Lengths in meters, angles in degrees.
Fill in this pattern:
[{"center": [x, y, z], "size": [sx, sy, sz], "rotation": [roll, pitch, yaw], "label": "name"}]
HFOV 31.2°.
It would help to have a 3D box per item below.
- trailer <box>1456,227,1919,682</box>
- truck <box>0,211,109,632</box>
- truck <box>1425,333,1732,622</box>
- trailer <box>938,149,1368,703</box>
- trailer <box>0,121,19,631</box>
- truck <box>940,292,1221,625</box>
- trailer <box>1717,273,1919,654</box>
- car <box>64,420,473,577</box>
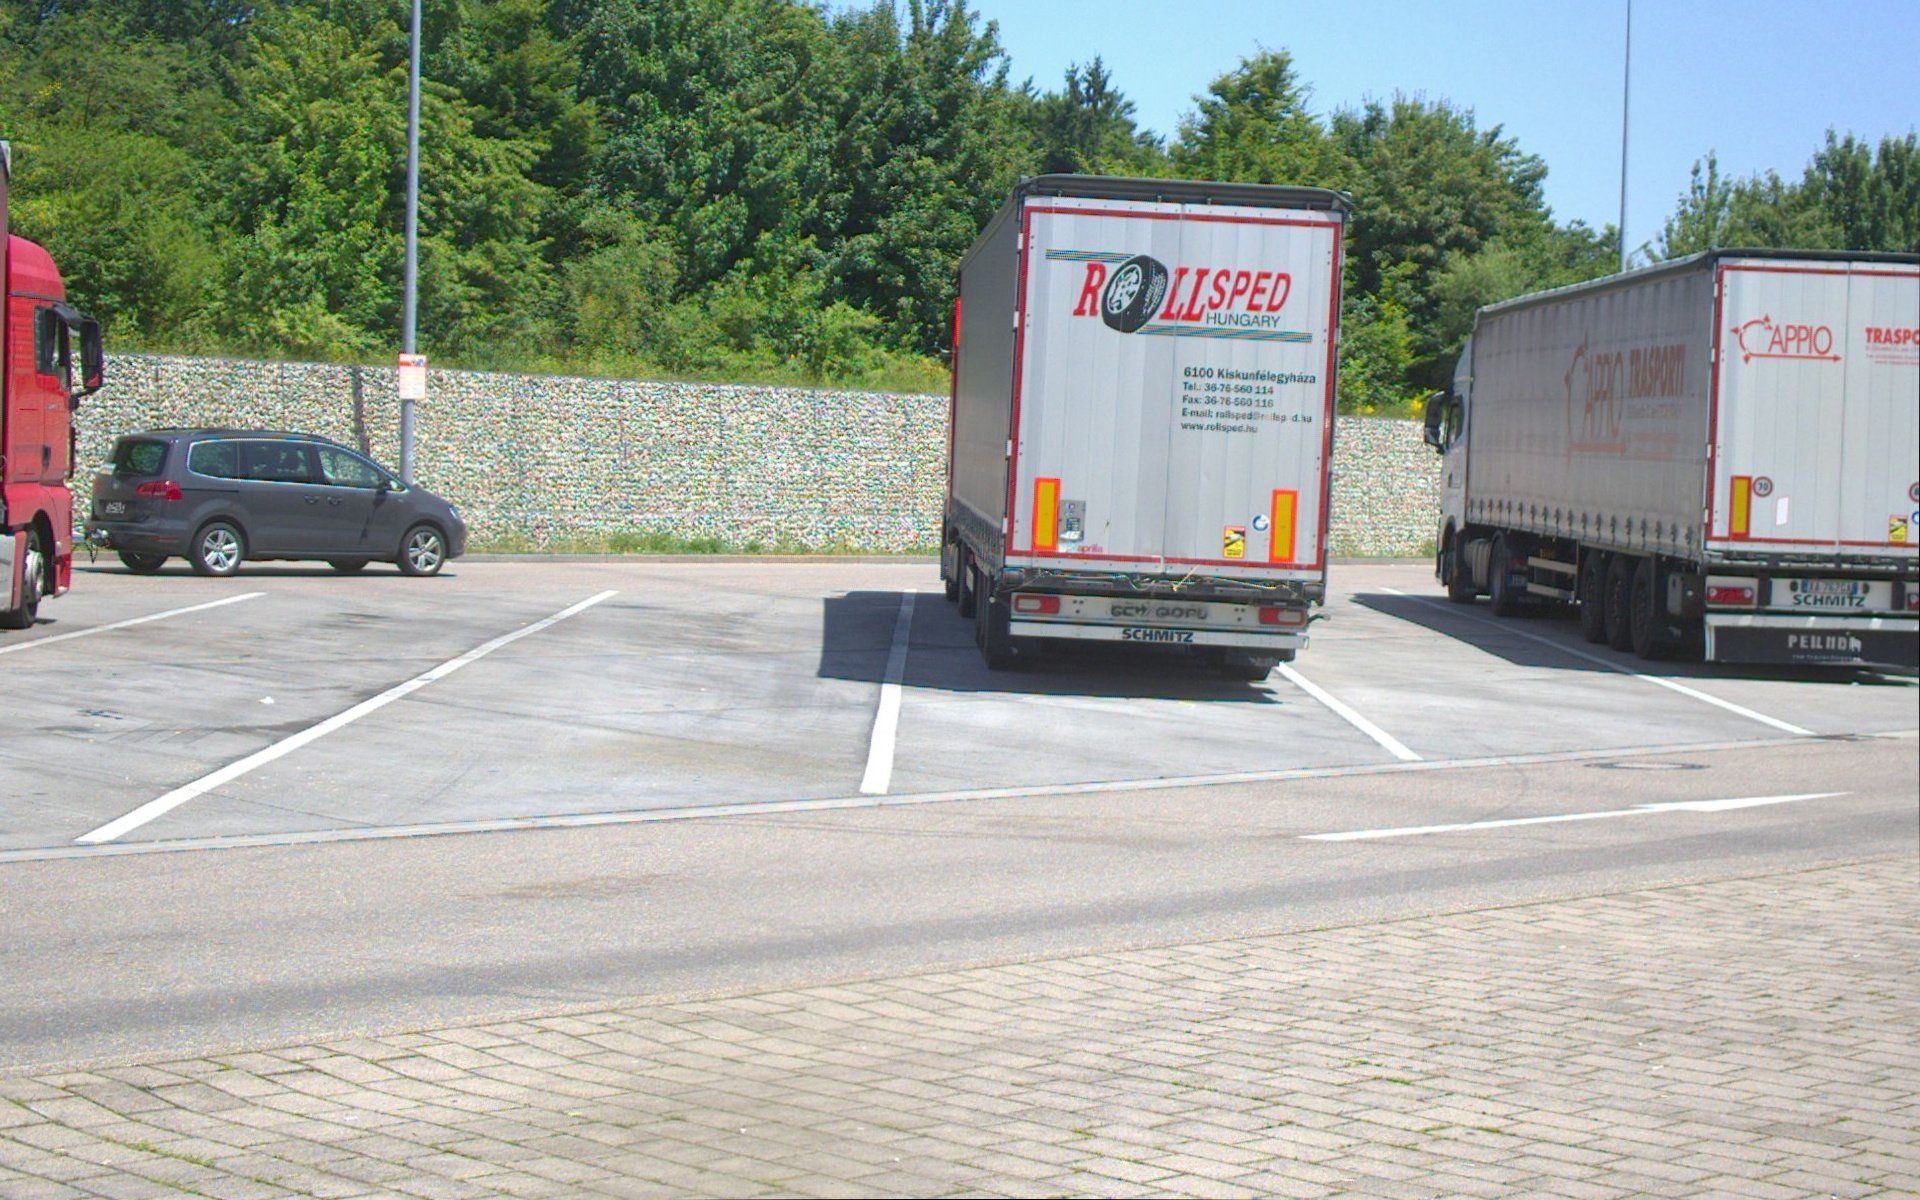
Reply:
[{"center": [8.151, -1.637, 38.660], "size": [2.838, 4.118, 13.724], "rotation": [2, 3, -1], "label": "trailer"}, {"center": [-9.243, -1.530, 28.714], "size": [2.852, 3.416, 5.483], "rotation": [2, 3, -1], "label": "truck"}, {"center": [8.058, -1.638, 45.473], "size": [2.852, 3.472, 5.483], "rotation": [2, 3, -1], "label": "truck"}, {"center": [1.433, -1.636, 33.170], "size": [2.906, 4.118, 13.725], "rotation": [2, 3, -1], "label": "trailer"}, {"center": [-9.154, -1.510, 21.276], "size": [2.906, 4.118, 13.725], "rotation": [2, 3, -1], "label": "trailer"}, {"center": [1.285, -1.648, 39.783], "size": [2.852, 3.472, 5.483], "rotation": [2, 3, -1], "label": "truck"}, {"center": [11.788, -1.535, 39.412], "size": [2.838, 4.118, 13.724], "rotation": [2, 3, -1], "label": "trailer"}, {"center": [-8.310, -1.211, 41.559], "size": [4.499, 1.702, 1.786], "rotation": [0, 4, -42], "label": "car"}]
